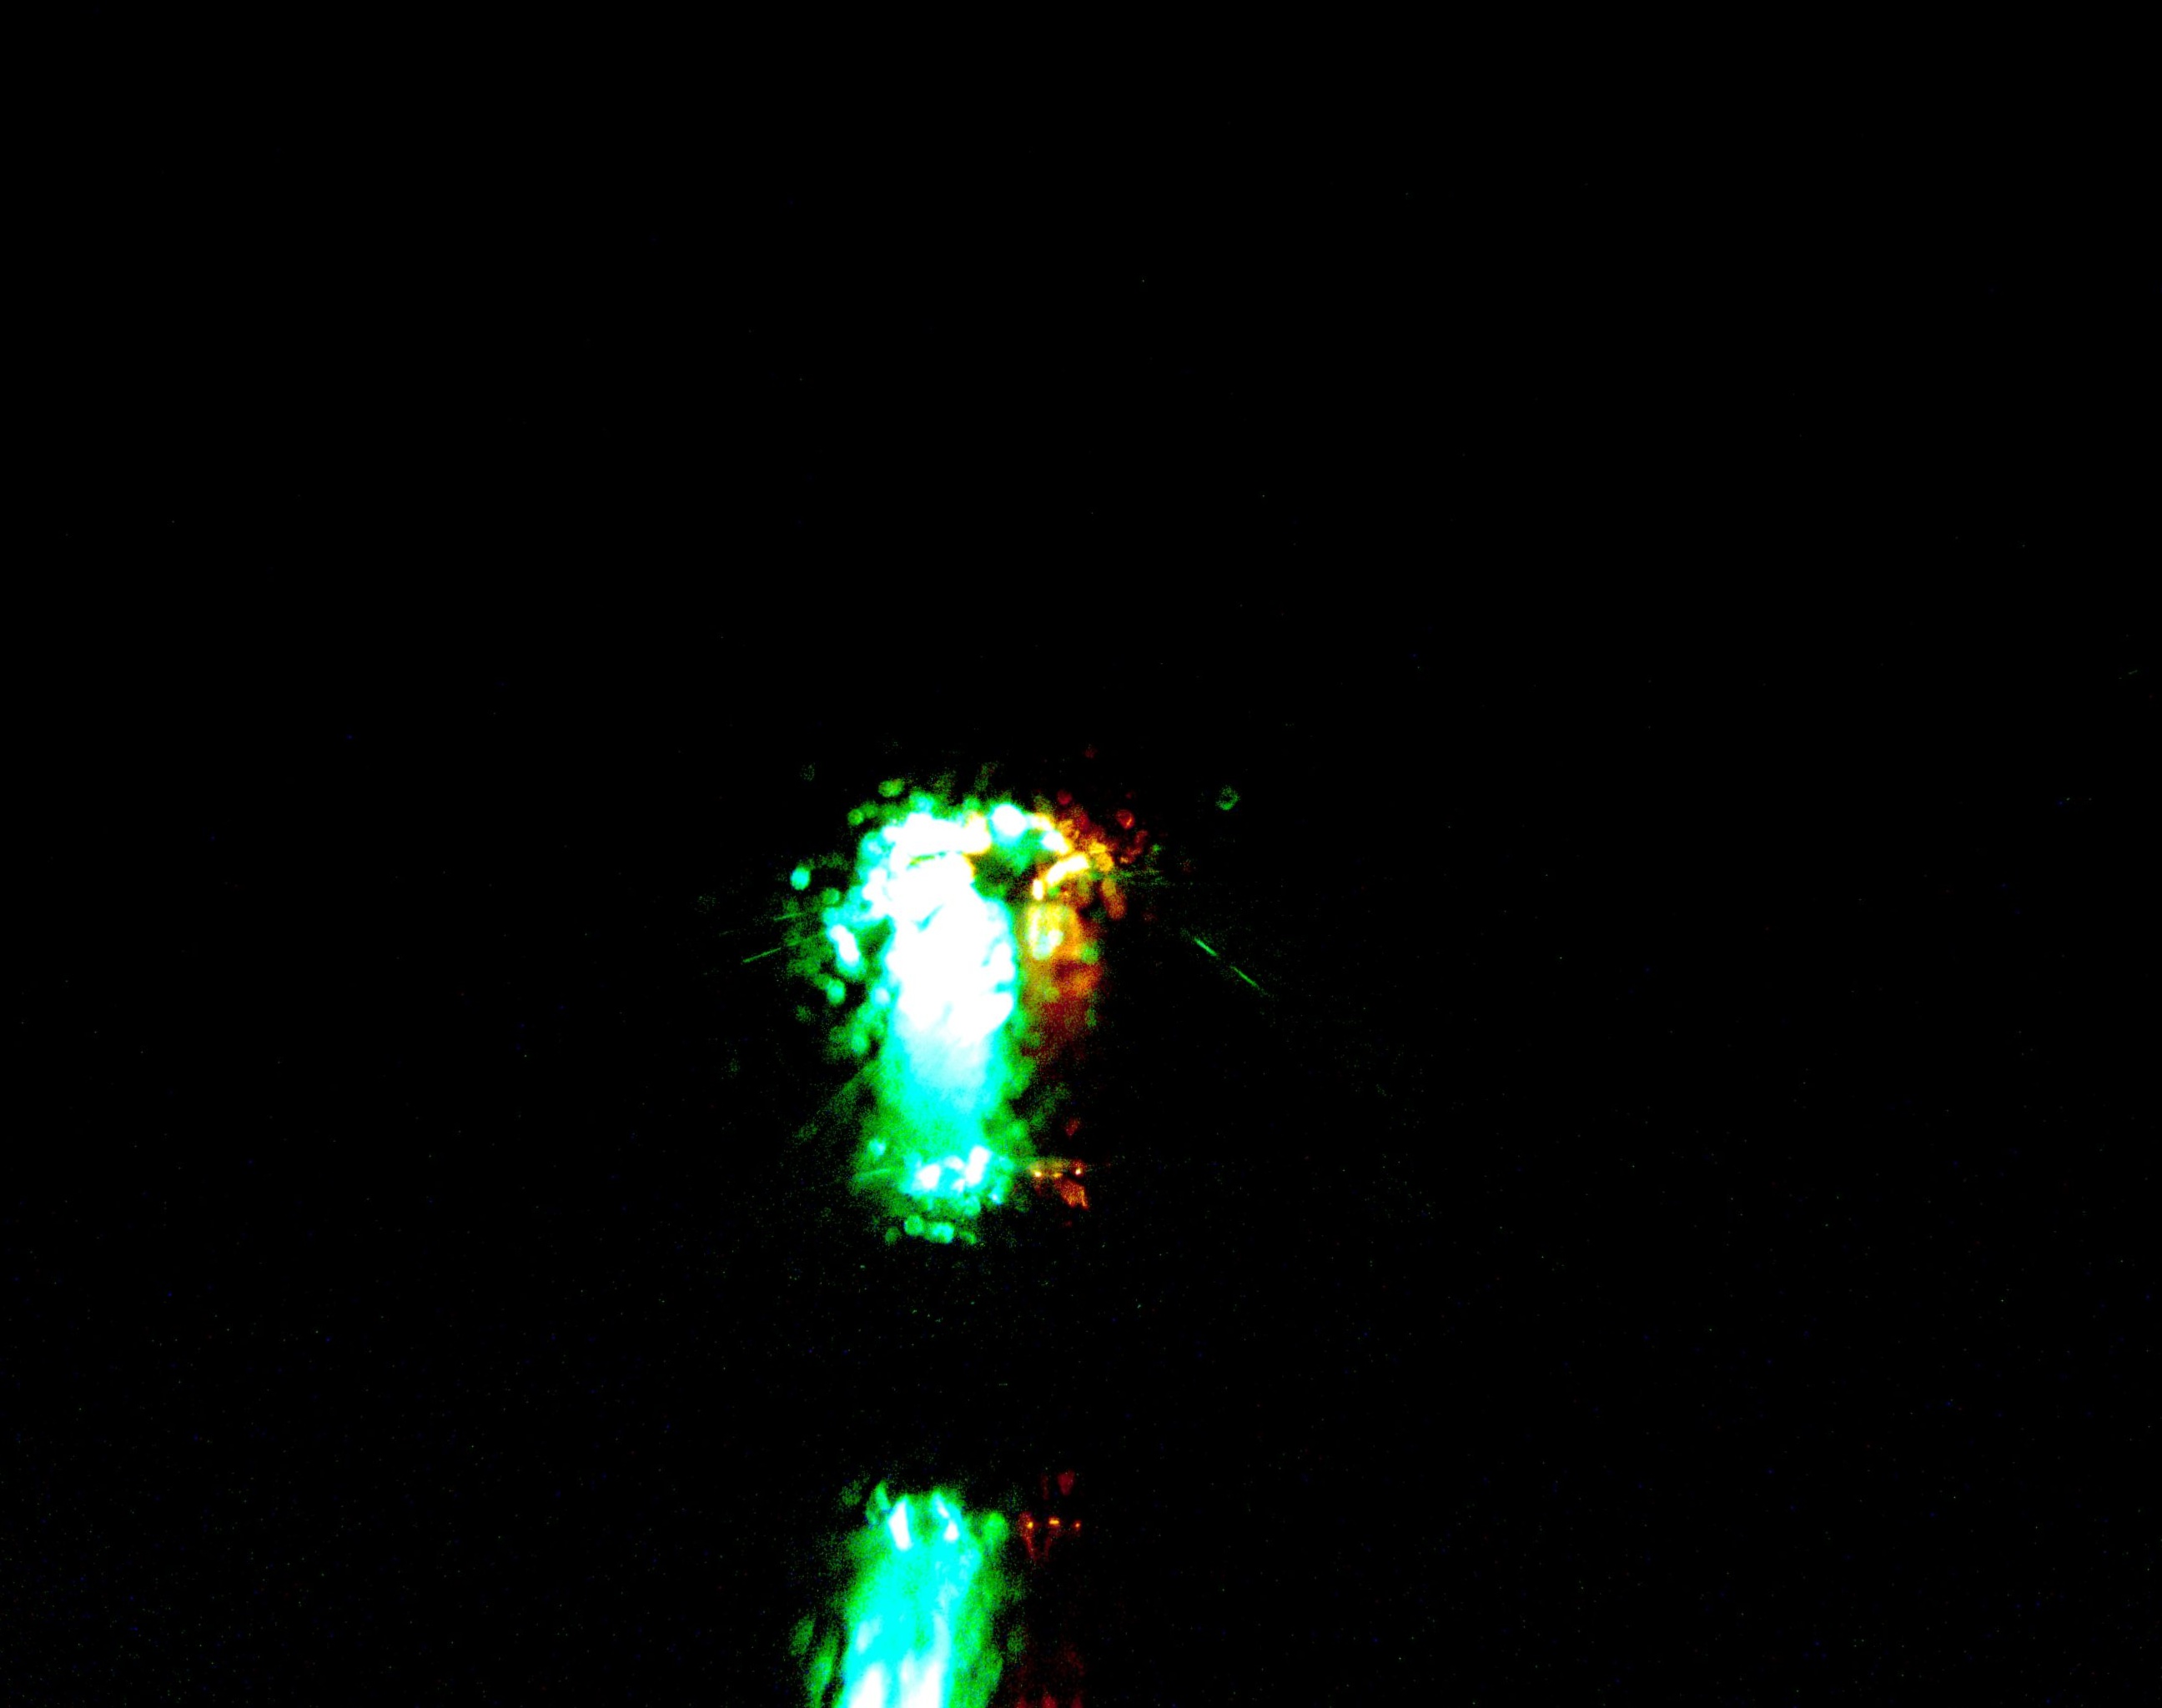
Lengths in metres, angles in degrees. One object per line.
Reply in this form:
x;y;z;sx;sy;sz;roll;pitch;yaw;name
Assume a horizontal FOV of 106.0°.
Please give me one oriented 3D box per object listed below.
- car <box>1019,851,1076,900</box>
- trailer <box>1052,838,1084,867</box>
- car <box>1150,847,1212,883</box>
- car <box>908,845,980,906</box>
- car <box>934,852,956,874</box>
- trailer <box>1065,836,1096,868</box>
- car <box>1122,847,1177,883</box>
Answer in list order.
-1.257;0.728;29.057;1.799;1.628;3.607;1;0;-6;car
-1.144;-0.111;70.162;1.632;2.364;4.631;2;0;-14;trailer
5.333;0.572;43.965;1.882;1.809;4.133;1;0;-16;car
-4.325;0.654;26.292;1.974;1.778;3.992;1;0;-6;car
-13.262;0.898;79.132;1.920;2.057;4.868;1;0;-12;car
-0.069;-0.162;65.422;1.606;2.352;4.414;2;0;-11;trailer
4.067;0.634;48.927;1.882;2.040;4.367;1;0;-16;car
